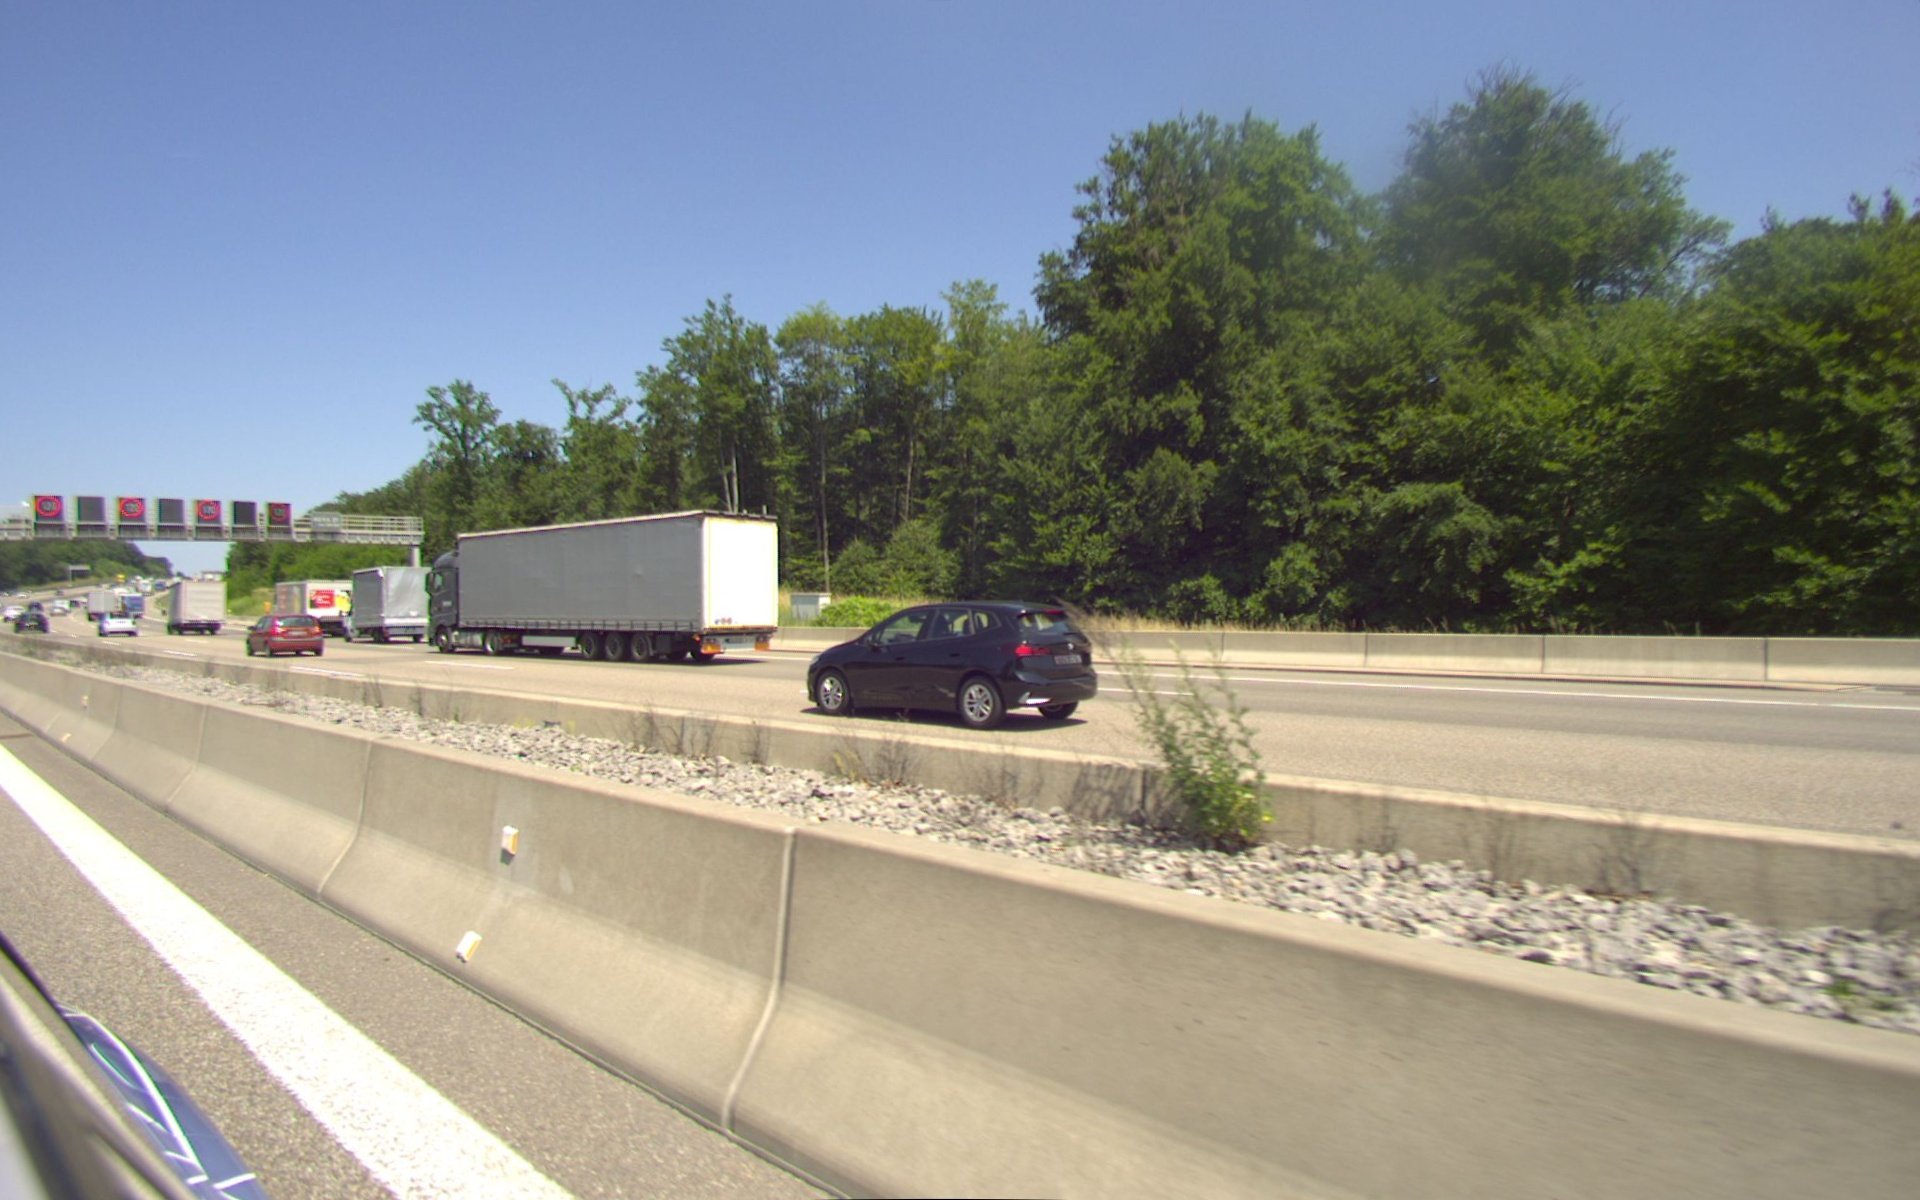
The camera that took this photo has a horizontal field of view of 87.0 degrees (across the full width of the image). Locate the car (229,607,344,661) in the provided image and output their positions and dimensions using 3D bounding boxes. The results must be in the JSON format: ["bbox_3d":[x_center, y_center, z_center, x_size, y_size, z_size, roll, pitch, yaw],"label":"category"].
[{"bbox_3d":[-23.784,1.145,35.670,5.030,1.741,2.262,-1,-1,43],"label":"car"}]

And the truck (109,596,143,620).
[{"bbox_3d":[-107.683,0.972,130.660,5.849,3.014,2.818,1,1,45],"label":"truck"}]

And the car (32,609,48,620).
[{"bbox_3d":[-154.872,2.406,170.332,1.805,1.674,4.921,-1,1,-43],"label":"car"}]

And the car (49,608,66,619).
[{"bbox_3d":[-126.722,1.862,142.078,1.679,1.412,4.358,-1,1,-40],"label":"car"}]

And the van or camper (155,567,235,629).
[{"bbox_3d":[-50.076,-0.190,66.169,8.216,3.867,2.799,1,1,43],"label":"van or camper"}]

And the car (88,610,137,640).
[{"bbox_3d":[-52.594,1.561,62.770,5.119,1.776,1.721,-1,-1,43],"label":"car"}]

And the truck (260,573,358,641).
[{"bbox_3d":[-38.559,0.304,59.802,9.244,3.724,2.837,1,1,44],"label":"truck"}]

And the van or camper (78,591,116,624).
[{"bbox_3d":[-97.861,0.857,114.694,7.759,3.706,2.403,-1,-1,43],"label":"van or camper"}]

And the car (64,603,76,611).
[{"bbox_3d":[-176.249,1.407,200.357,1.656,1.537,4.615,-1,1,-44],"label":"car"}]

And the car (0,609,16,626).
[{"bbox_3d":[-102.676,1.872,108.456,5.347,1.750,1.966,0,1,44],"label":"car"}]

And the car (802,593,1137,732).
[{"bbox_3d":[0.002,0.717,13.449,4.360,1.532,1.743,-1,0,41],"label":"car"}]

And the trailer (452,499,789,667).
[{"bbox_3d":[-11.084,-0.360,31.451,13.942,4.295,2.837,-1,-1,38],"label":"trailer"}]

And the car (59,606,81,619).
[{"bbox_3d":[-146.265,1.960,166.278,7.144,2.071,2.170,0,0,45],"label":"car"}]

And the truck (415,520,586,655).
[{"bbox_3d":[-16.181,-0.351,35.470,6.445,4.322,2.848,-1,-1,39],"label":"truck"}]

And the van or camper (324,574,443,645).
[{"bbox_3d":[-28.049,0.364,49.043,8.095,3.148,2.734,1,1,43],"label":"van or camper"}]

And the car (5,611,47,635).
[{"bbox_3d":[-65.955,1.578,71.434,4.846,1.602,1.971,-1,-1,44],"label":"car"}]
